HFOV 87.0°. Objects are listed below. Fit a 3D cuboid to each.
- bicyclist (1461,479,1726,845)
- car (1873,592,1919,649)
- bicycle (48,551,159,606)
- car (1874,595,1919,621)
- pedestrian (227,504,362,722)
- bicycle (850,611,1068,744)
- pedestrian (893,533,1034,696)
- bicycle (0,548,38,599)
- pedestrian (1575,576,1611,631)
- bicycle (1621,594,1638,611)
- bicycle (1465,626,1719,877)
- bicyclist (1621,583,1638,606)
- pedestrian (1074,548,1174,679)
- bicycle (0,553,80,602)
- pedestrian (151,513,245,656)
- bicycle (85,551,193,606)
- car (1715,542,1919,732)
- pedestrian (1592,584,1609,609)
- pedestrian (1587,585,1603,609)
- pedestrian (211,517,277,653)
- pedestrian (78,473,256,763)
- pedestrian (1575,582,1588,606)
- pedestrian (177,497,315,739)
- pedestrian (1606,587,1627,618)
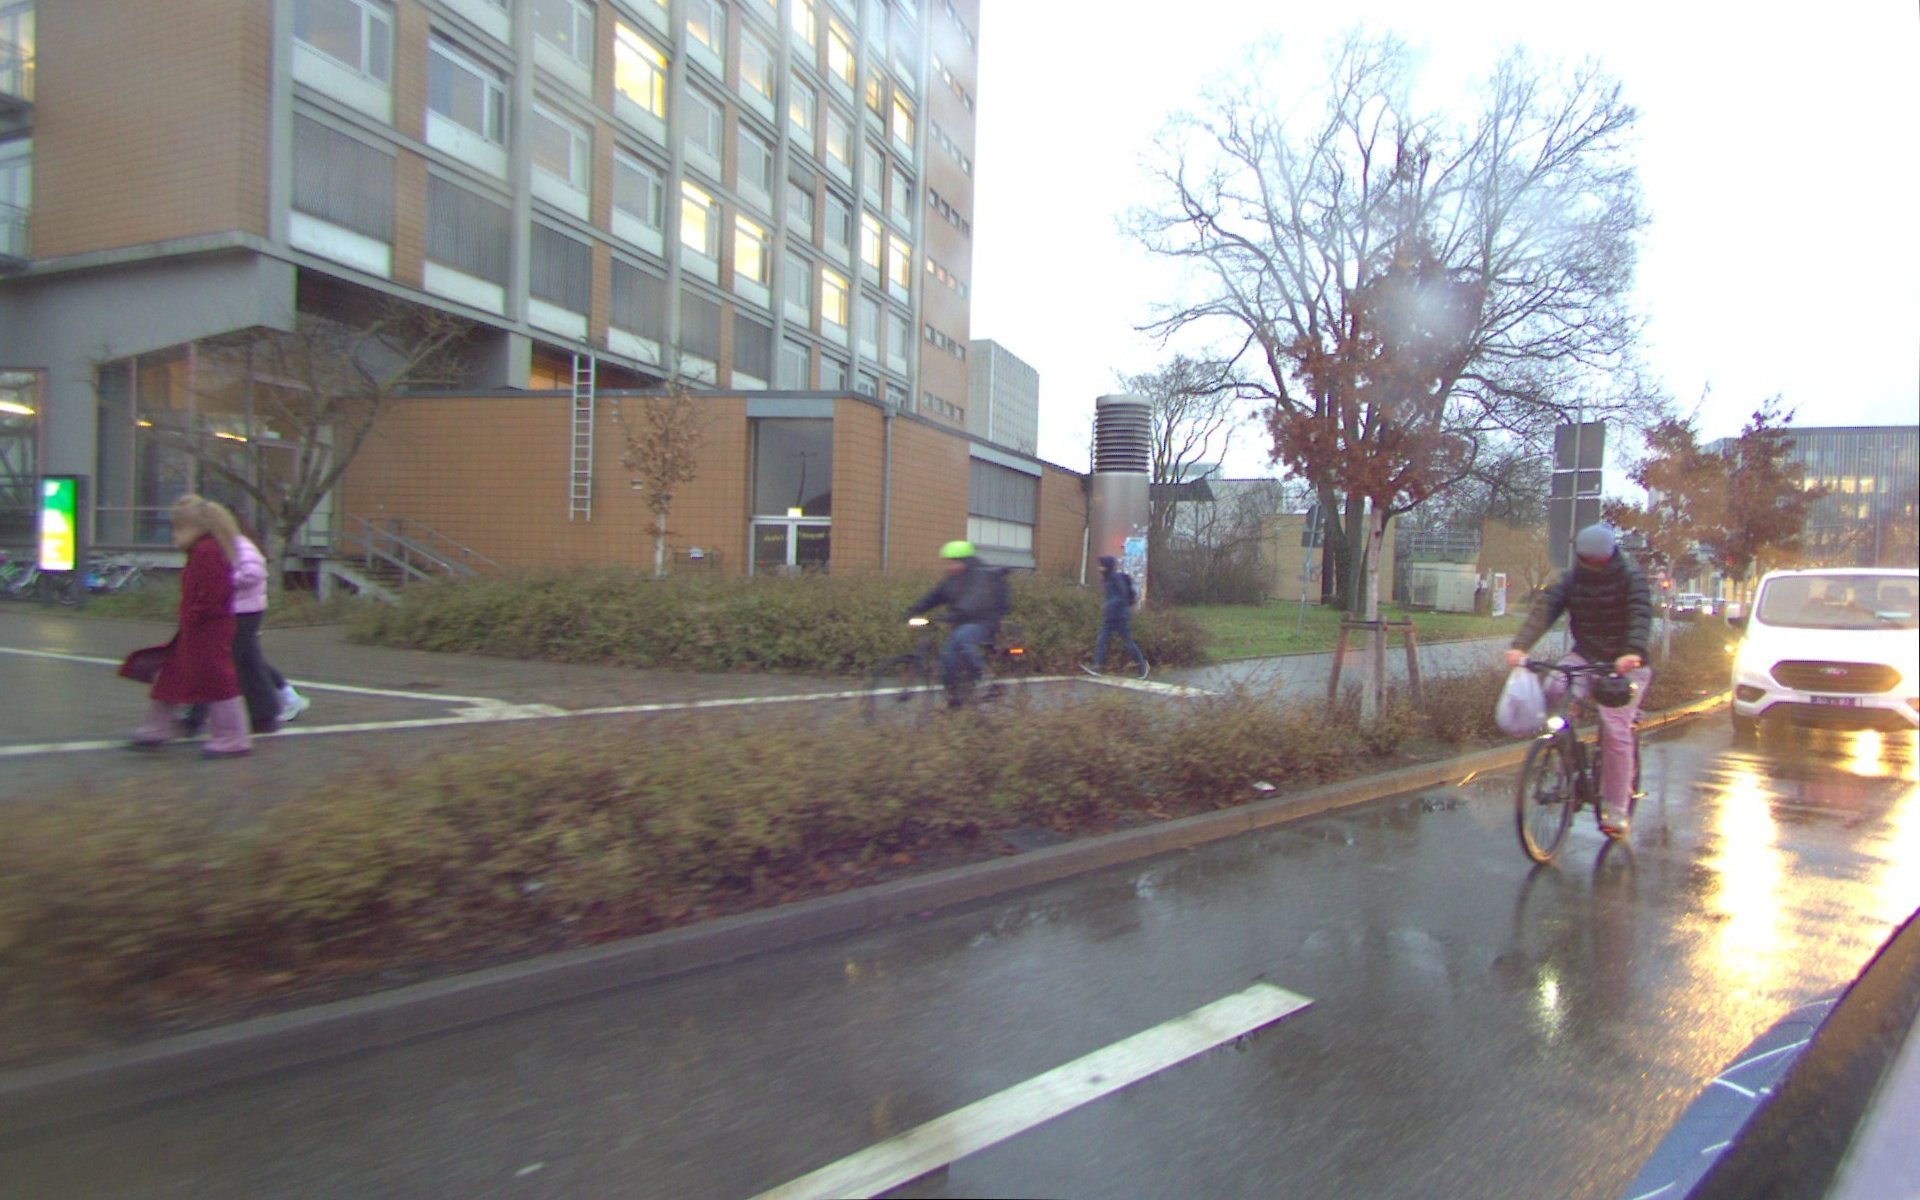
[{"bbox_3d":[3.801,0.315,6.072,1.214,1.907,1.026,0,0,-41],"label":"bicyclist"},{"bbox_3d":[27.681,0.637,29.036,4.242,1.523,1.752,3,-1,-42],"label":"car"},{"bbox_3d":[-18.079,-0.455,21.403,0.437,1.115,1.781,2,2,24],"label":"bicycle"},{"bbox_3d":[56.982,0.461,60.707,1.913,1.393,4.458,3,2,26],"label":"car"},{"bbox_3d":[-5.496,0.095,8.403,0.744,1.708,0.722,1,1,-16],"label":"pedestrian"},{"bbox_3d":[0.041,0.614,8.800,2.060,0.958,0.562,-1,3,-44],"label":"bicycle"},{"bbox_3d":[0.025,0.096,8.860,0.834,1.333,0.875,0,2,-44],"label":"pedestrian"},{"bbox_3d":[-21.027,-0.579,21.847,0.384,1.115,1.790,2,2,11],"label":"bicycle"},{"bbox_3d":[20.782,0.115,33.229,0.906,1.708,0.917,4,1,32],"label":"pedestrian"},{"bbox_3d":[49.373,0.166,74.655,0.799,1.155,2.192,5,3,28],"label":"bicycle"},{"bbox_3d":[3.875,0.805,6.139,1.870,1.238,0.794,0,0,-41],"label":"bicycle"},{"bbox_3d":[49.451,-0.424,74.730,0.799,1.637,1.075,5,3,28],"label":"bicyclist"},{"bbox_3d":[2.272,0.169,14.025,1.051,1.708,0.809,0,3,-39],"label":"pedestrian"},{"bbox_3d":[-20.075,-0.483,21.456,0.700,1.003,2.044,2,2,24],"label":"bicycle"},{"bbox_3d":[-10.123,-0.217,13.441,0.847,1.813,0.740,2,1,32],"label":"pedestrian"},{"bbox_3d":[-17.361,-0.458,21.445,0.397,1.115,1.781,2,2,24],"label":"bicycle"},{"bbox_3d":[11.152,0.453,12.565,2.133,1.945,4.934,2,-1,45],"label":"car"},{"bbox_3d":[47.948,-0.275,75.793,0.924,1.848,0.826,3,2,26],"label":"pedestrian"},{"bbox_3d":[50.070,-0.232,79.764,0.924,1.848,0.826,3,2,26],"label":"pedestrian"},{"bbox_3d":[-9.815,-0.214,13.870,0.579,1.813,0.554,2,1,32],"label":"pedestrian"},{"bbox_3d":[-5.181,0.107,6.660,0.753,1.803,0.587,1,3,-15],"label":"pedestrian"},{"bbox_3d":[54.140,-0.491,88.153,0.758,2.038,0.903,2,2,25],"label":"pedestrian"},{"bbox_3d":[-5.329,0.121,7.586,0.599,1.708,0.671,3,2,-16],"label":"pedestrian"},{"bbox_3d":[40.470,0.141,62.408,0.924,1.848,0.826,3,2,26],"label":"pedestrian"}]
